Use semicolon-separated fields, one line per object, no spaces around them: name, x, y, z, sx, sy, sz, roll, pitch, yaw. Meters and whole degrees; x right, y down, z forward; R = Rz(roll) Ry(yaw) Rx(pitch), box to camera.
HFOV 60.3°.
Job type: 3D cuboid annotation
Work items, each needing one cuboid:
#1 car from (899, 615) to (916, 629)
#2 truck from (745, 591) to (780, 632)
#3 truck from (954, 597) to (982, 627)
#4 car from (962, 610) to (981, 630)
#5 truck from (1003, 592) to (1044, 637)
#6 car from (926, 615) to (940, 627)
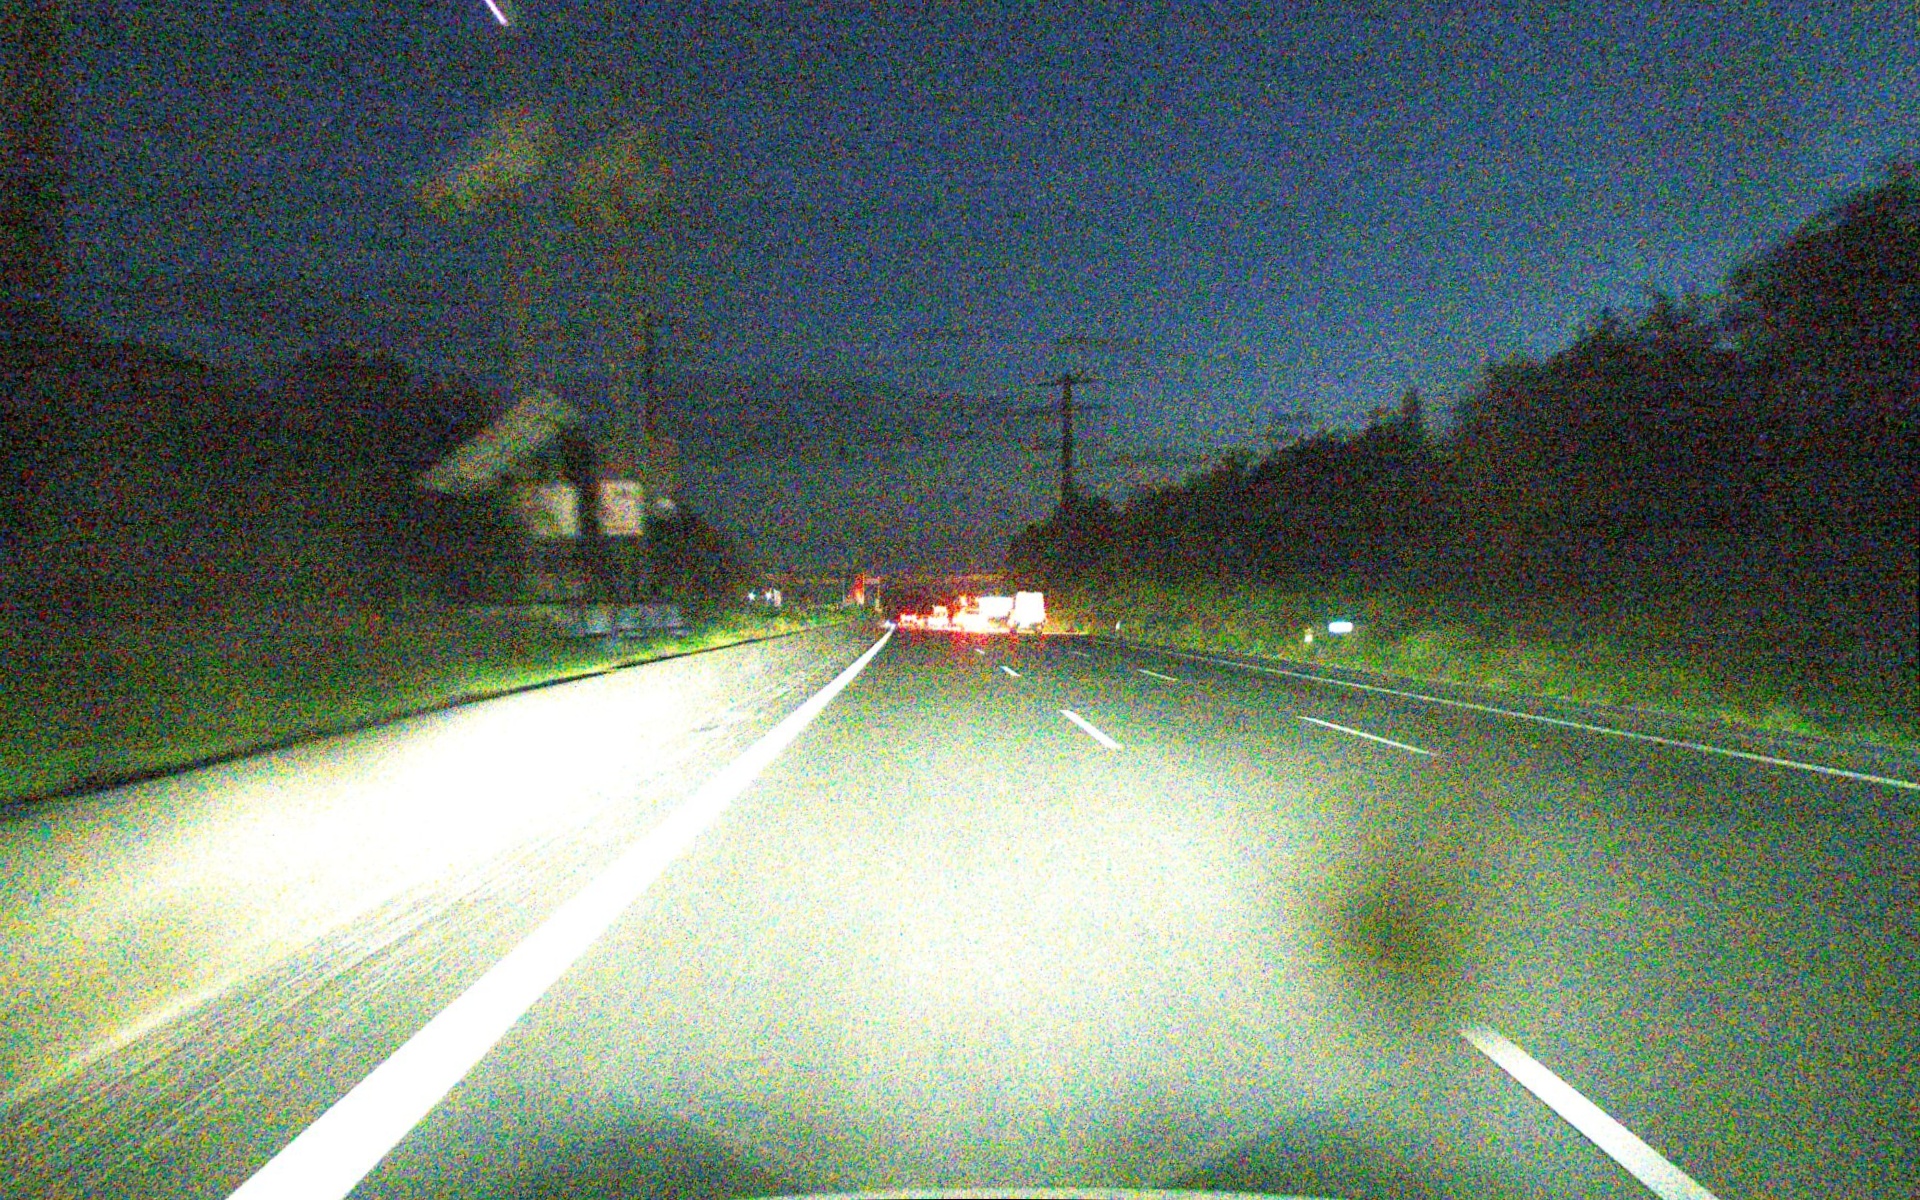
car;-5.932;2.439;186.257;1.784;1.492;4.246;2;0;-1
truck;-21.990;1.231;184.835;3.052;4.276;16.963;-1;0;-4
truck;0.954;1.374;197.918;2.983;3.383;10.138;2;0;-2
car;0.835;1.487;122.341;1.319;1.411;3.500;2;0;-1
truck;4.224;1.001;111.096;2.035;2.738;7.301;2;-2;-3
car;-3.721;2.832;225.388;1.784;1.492;4.246;2;0;-1
